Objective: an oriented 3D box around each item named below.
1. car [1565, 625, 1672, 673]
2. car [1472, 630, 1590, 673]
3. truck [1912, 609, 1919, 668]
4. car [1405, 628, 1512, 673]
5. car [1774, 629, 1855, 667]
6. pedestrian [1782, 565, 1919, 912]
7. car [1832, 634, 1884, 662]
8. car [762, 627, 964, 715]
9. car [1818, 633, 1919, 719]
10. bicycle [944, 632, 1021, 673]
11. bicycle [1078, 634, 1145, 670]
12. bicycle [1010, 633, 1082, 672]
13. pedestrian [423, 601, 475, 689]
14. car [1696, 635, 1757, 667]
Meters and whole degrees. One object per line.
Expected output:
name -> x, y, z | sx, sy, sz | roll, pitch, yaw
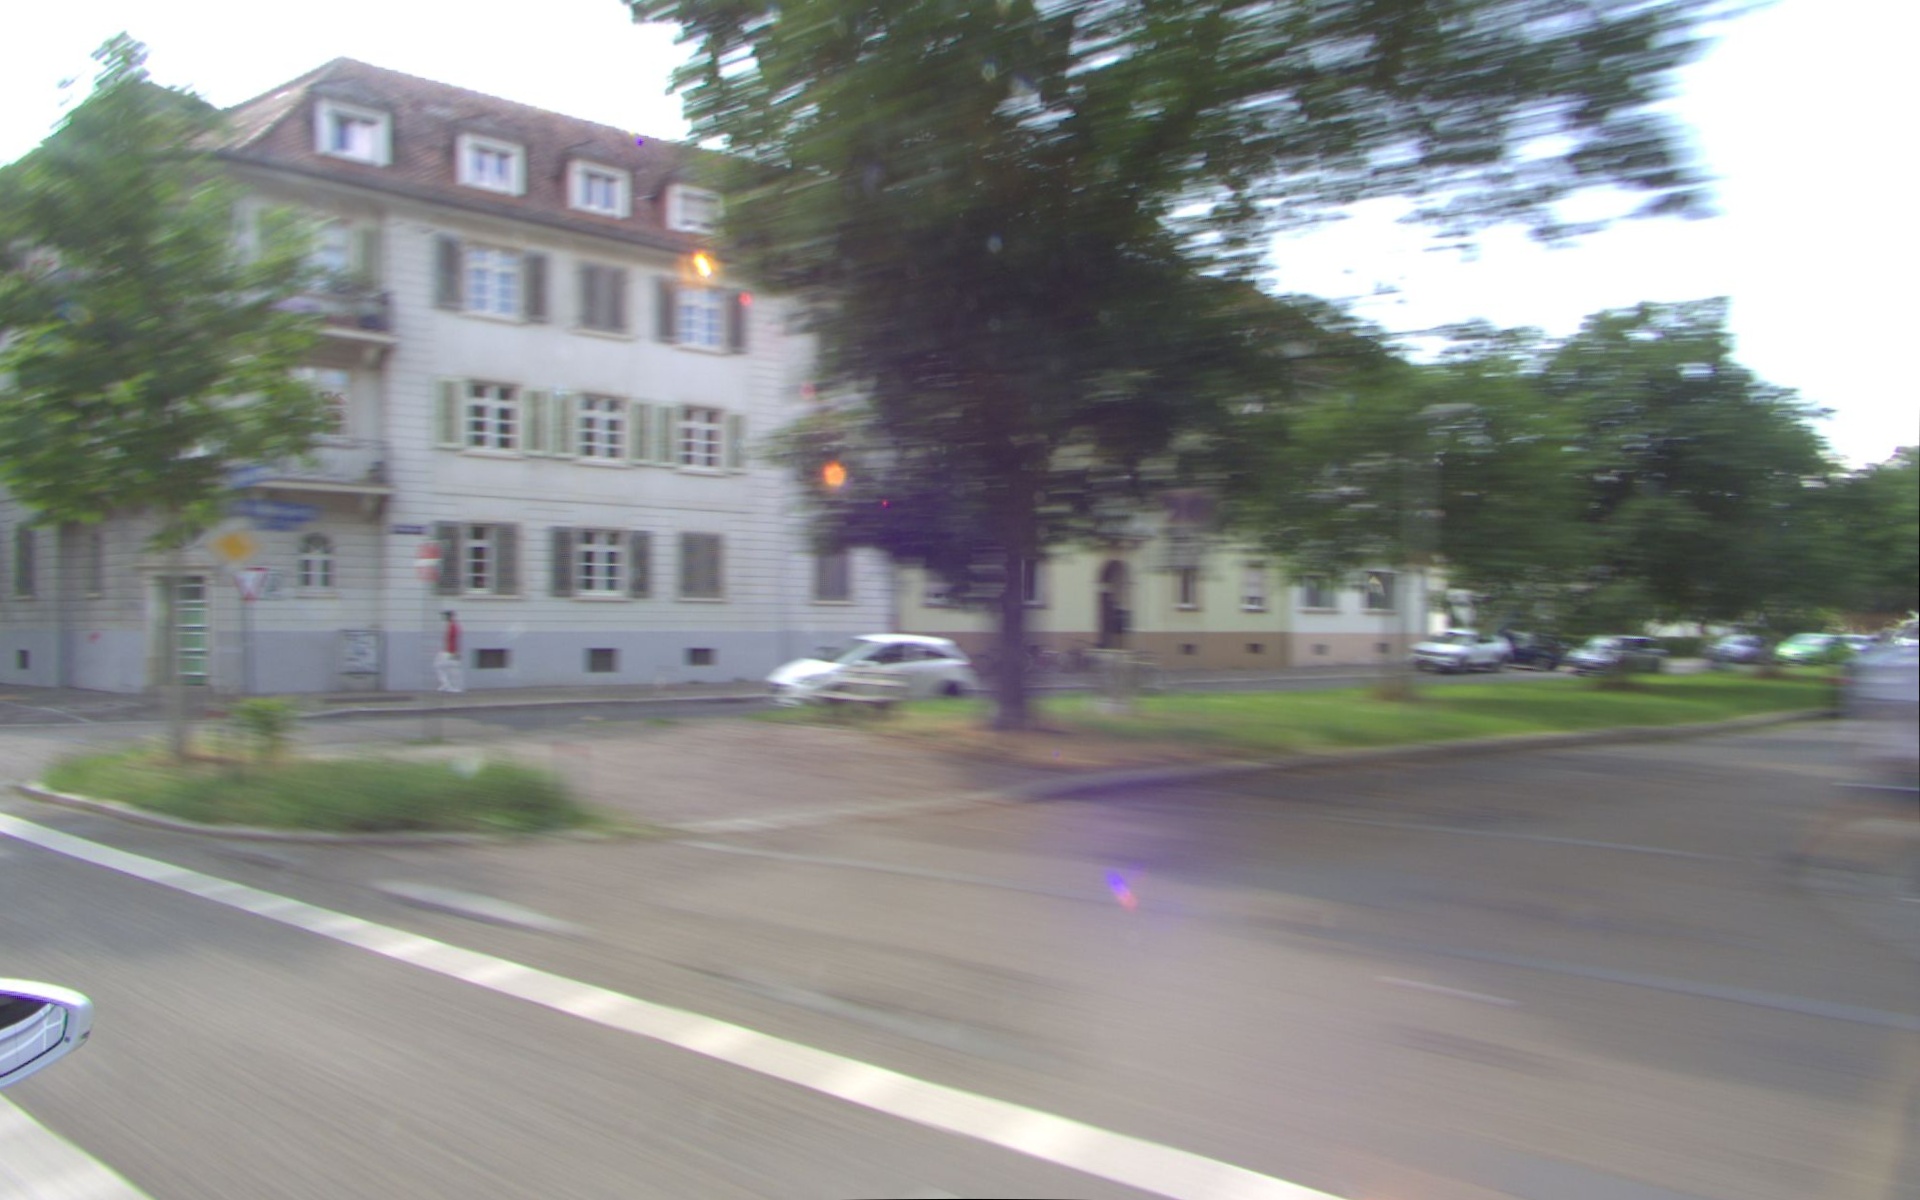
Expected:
car -> 22.772, 1.648, 34.630 | 3.570, 1.518, 1.720 | 1, 1, -32
car -> 24.014, 2.136, 42.229 | 1.875, 1.518, 3.887 | 1, 1, -37
truck -> 50.619, 1.996, 51.119 | 4.199, 2.992, 1.849 | 1, 1, -32
car -> 19.371, 1.914, 38.890 | 4.011, 1.600, 1.886 | 1, 1, -32
car -> 37.902, 2.095, 44.402 | 3.570, 1.518, 1.720 | 1, 1, -32
pedestrian -> 5.316, 0.747, 5.604 | 1.016, 1.857, 0.616 | 0, -1, 32
car -> 53.100, 2.807, 59.206 | 3.287, 1.518, 1.377 | 1, 1, -32
car -> -1.884, 1.320, 19.682 | 3.570, 1.518, 1.720 | 1, 1, -32
car -> 18.552, 1.441, 19.418 | 3.877, 1.529, 1.724 | 1, -5, -31
bicycle -> 0.720, 1.612, 31.118 | 2.486, 1.163, 0.677 | 1, 2, -38
bicycle -> 5.147, 1.747, 33.937 | 2.486, 1.163, 0.677 | 1, 2, -38
bicycle -> 2.802, 1.680, 32.503 | 2.486, 1.163, 0.677 | 1, 2, -38
pedestrian -> -11.627, 1.024, 22.791 | 0.964, 1.961, 0.897 | 1, -2, -32
car -> 39.046, 2.576, 50.984 | 3.287, 1.518, 1.377 | 1, 1, -32
